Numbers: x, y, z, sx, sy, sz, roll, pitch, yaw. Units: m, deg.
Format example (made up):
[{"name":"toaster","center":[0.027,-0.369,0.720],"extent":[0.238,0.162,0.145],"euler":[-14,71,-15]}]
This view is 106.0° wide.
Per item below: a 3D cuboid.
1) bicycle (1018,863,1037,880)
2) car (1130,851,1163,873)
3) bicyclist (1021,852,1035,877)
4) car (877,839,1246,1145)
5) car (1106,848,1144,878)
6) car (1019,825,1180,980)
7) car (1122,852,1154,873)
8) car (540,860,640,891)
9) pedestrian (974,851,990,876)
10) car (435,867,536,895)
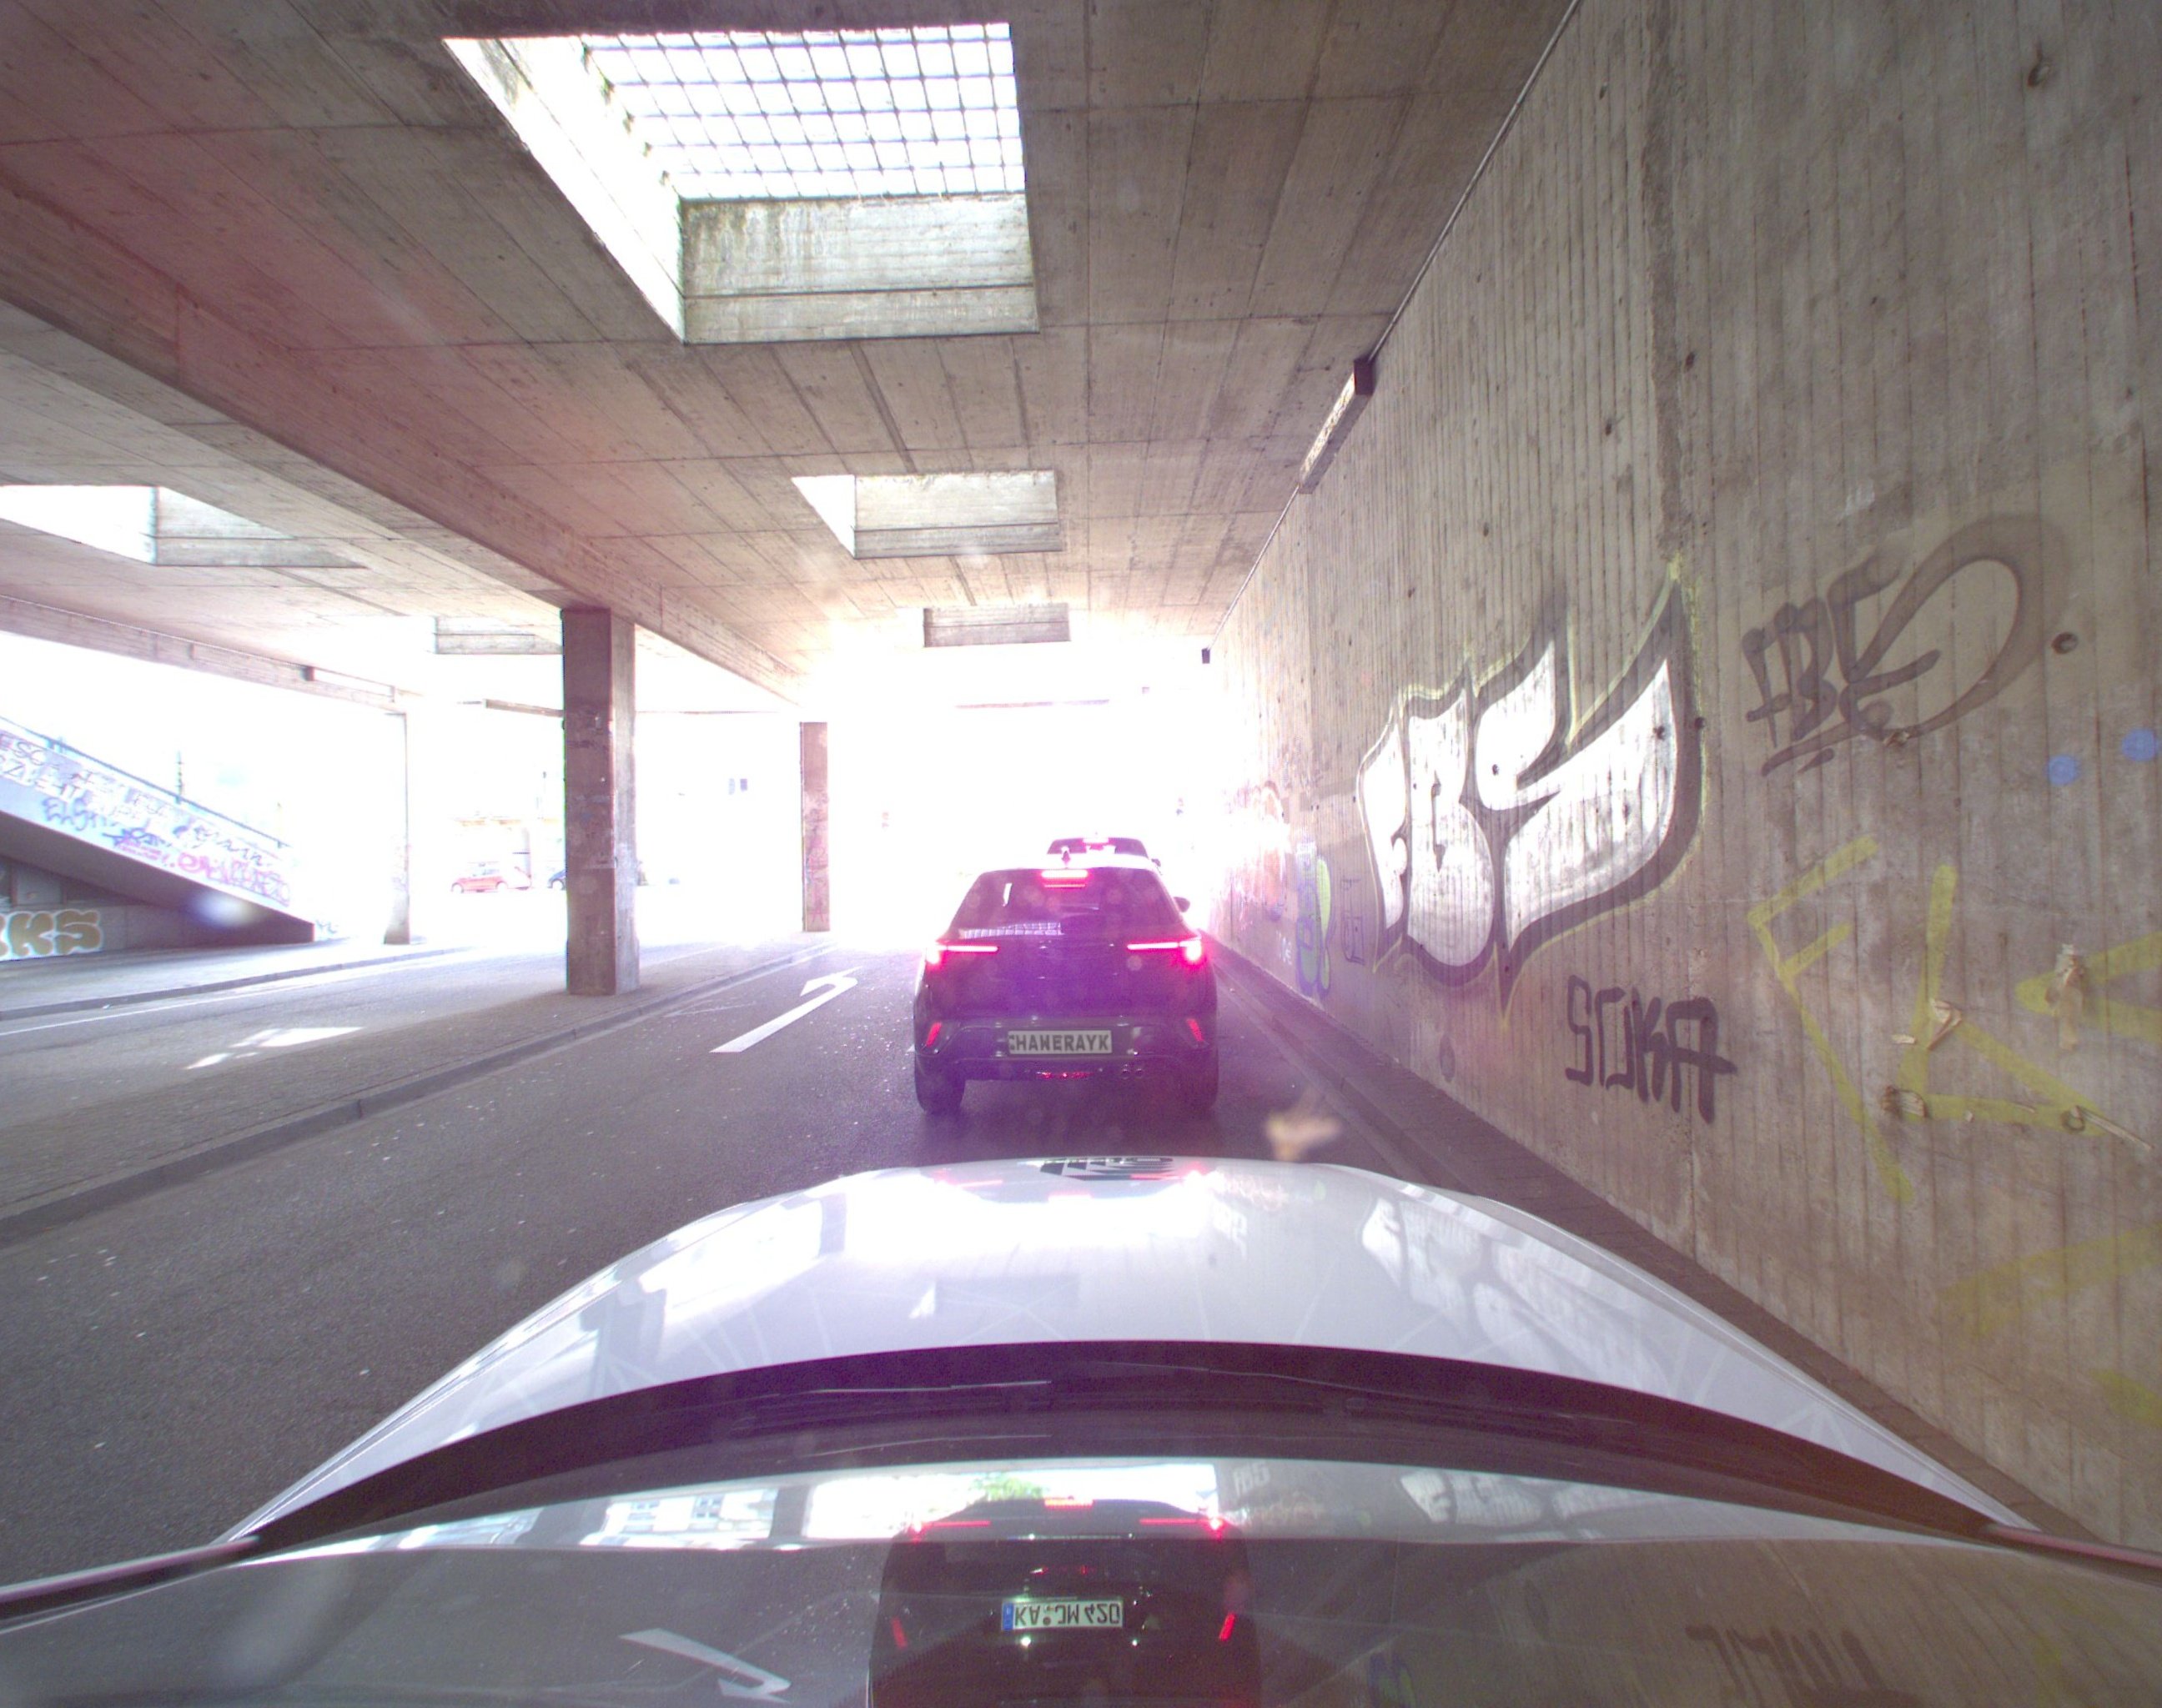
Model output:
[{"name":"bicycle","center":[-3.388,1.112,51.764],"extent":[0.727,1.067,1.694],"euler":[-1,-1,11]},{"name":"car","center":[5.586,0.698,69.058],"extent":[2.206,1.719,4.474],"euler":[-2,-2,12]},{"name":"bicyclist","center":[-3.378,0.654,51.798],"extent":[0.724,1.581,0.817],"euler":[-1,-1,11]},{"name":"car","center":[-0.041,0.715,6.208],"extent":[1.875,1.538,3.966],"euler":[-2,0,2]},{"name":"car","center":[2.410,0.510,44.287],"extent":[1.959,1.497,3.900],"euler":[-2,-2,4]},{"name":"car","center":[0.291,0.598,12.029],"extent":[1.938,1.860,3.966],"euler":[-2,0,2]},{"name":"car","center":[4.405,0.652,62.272],"extent":[1.955,1.497,3.908],"euler":[-2,-2,11]},{"name":"car","center":[-27.207,1.181,45.256],"extent":[4.114,1.550,2.268],"euler":[-1,0,1]},{"name":"pedestrian","center":[-8.308,0.806,68.073],"extent":[0.986,2.013,1.091],"euler":[-2,0,10]},{"name":"car","center":[-33.011,1.470,45.255],"extent":[3.970,1.374,2.192],"euler":[-1,0,3]}]
